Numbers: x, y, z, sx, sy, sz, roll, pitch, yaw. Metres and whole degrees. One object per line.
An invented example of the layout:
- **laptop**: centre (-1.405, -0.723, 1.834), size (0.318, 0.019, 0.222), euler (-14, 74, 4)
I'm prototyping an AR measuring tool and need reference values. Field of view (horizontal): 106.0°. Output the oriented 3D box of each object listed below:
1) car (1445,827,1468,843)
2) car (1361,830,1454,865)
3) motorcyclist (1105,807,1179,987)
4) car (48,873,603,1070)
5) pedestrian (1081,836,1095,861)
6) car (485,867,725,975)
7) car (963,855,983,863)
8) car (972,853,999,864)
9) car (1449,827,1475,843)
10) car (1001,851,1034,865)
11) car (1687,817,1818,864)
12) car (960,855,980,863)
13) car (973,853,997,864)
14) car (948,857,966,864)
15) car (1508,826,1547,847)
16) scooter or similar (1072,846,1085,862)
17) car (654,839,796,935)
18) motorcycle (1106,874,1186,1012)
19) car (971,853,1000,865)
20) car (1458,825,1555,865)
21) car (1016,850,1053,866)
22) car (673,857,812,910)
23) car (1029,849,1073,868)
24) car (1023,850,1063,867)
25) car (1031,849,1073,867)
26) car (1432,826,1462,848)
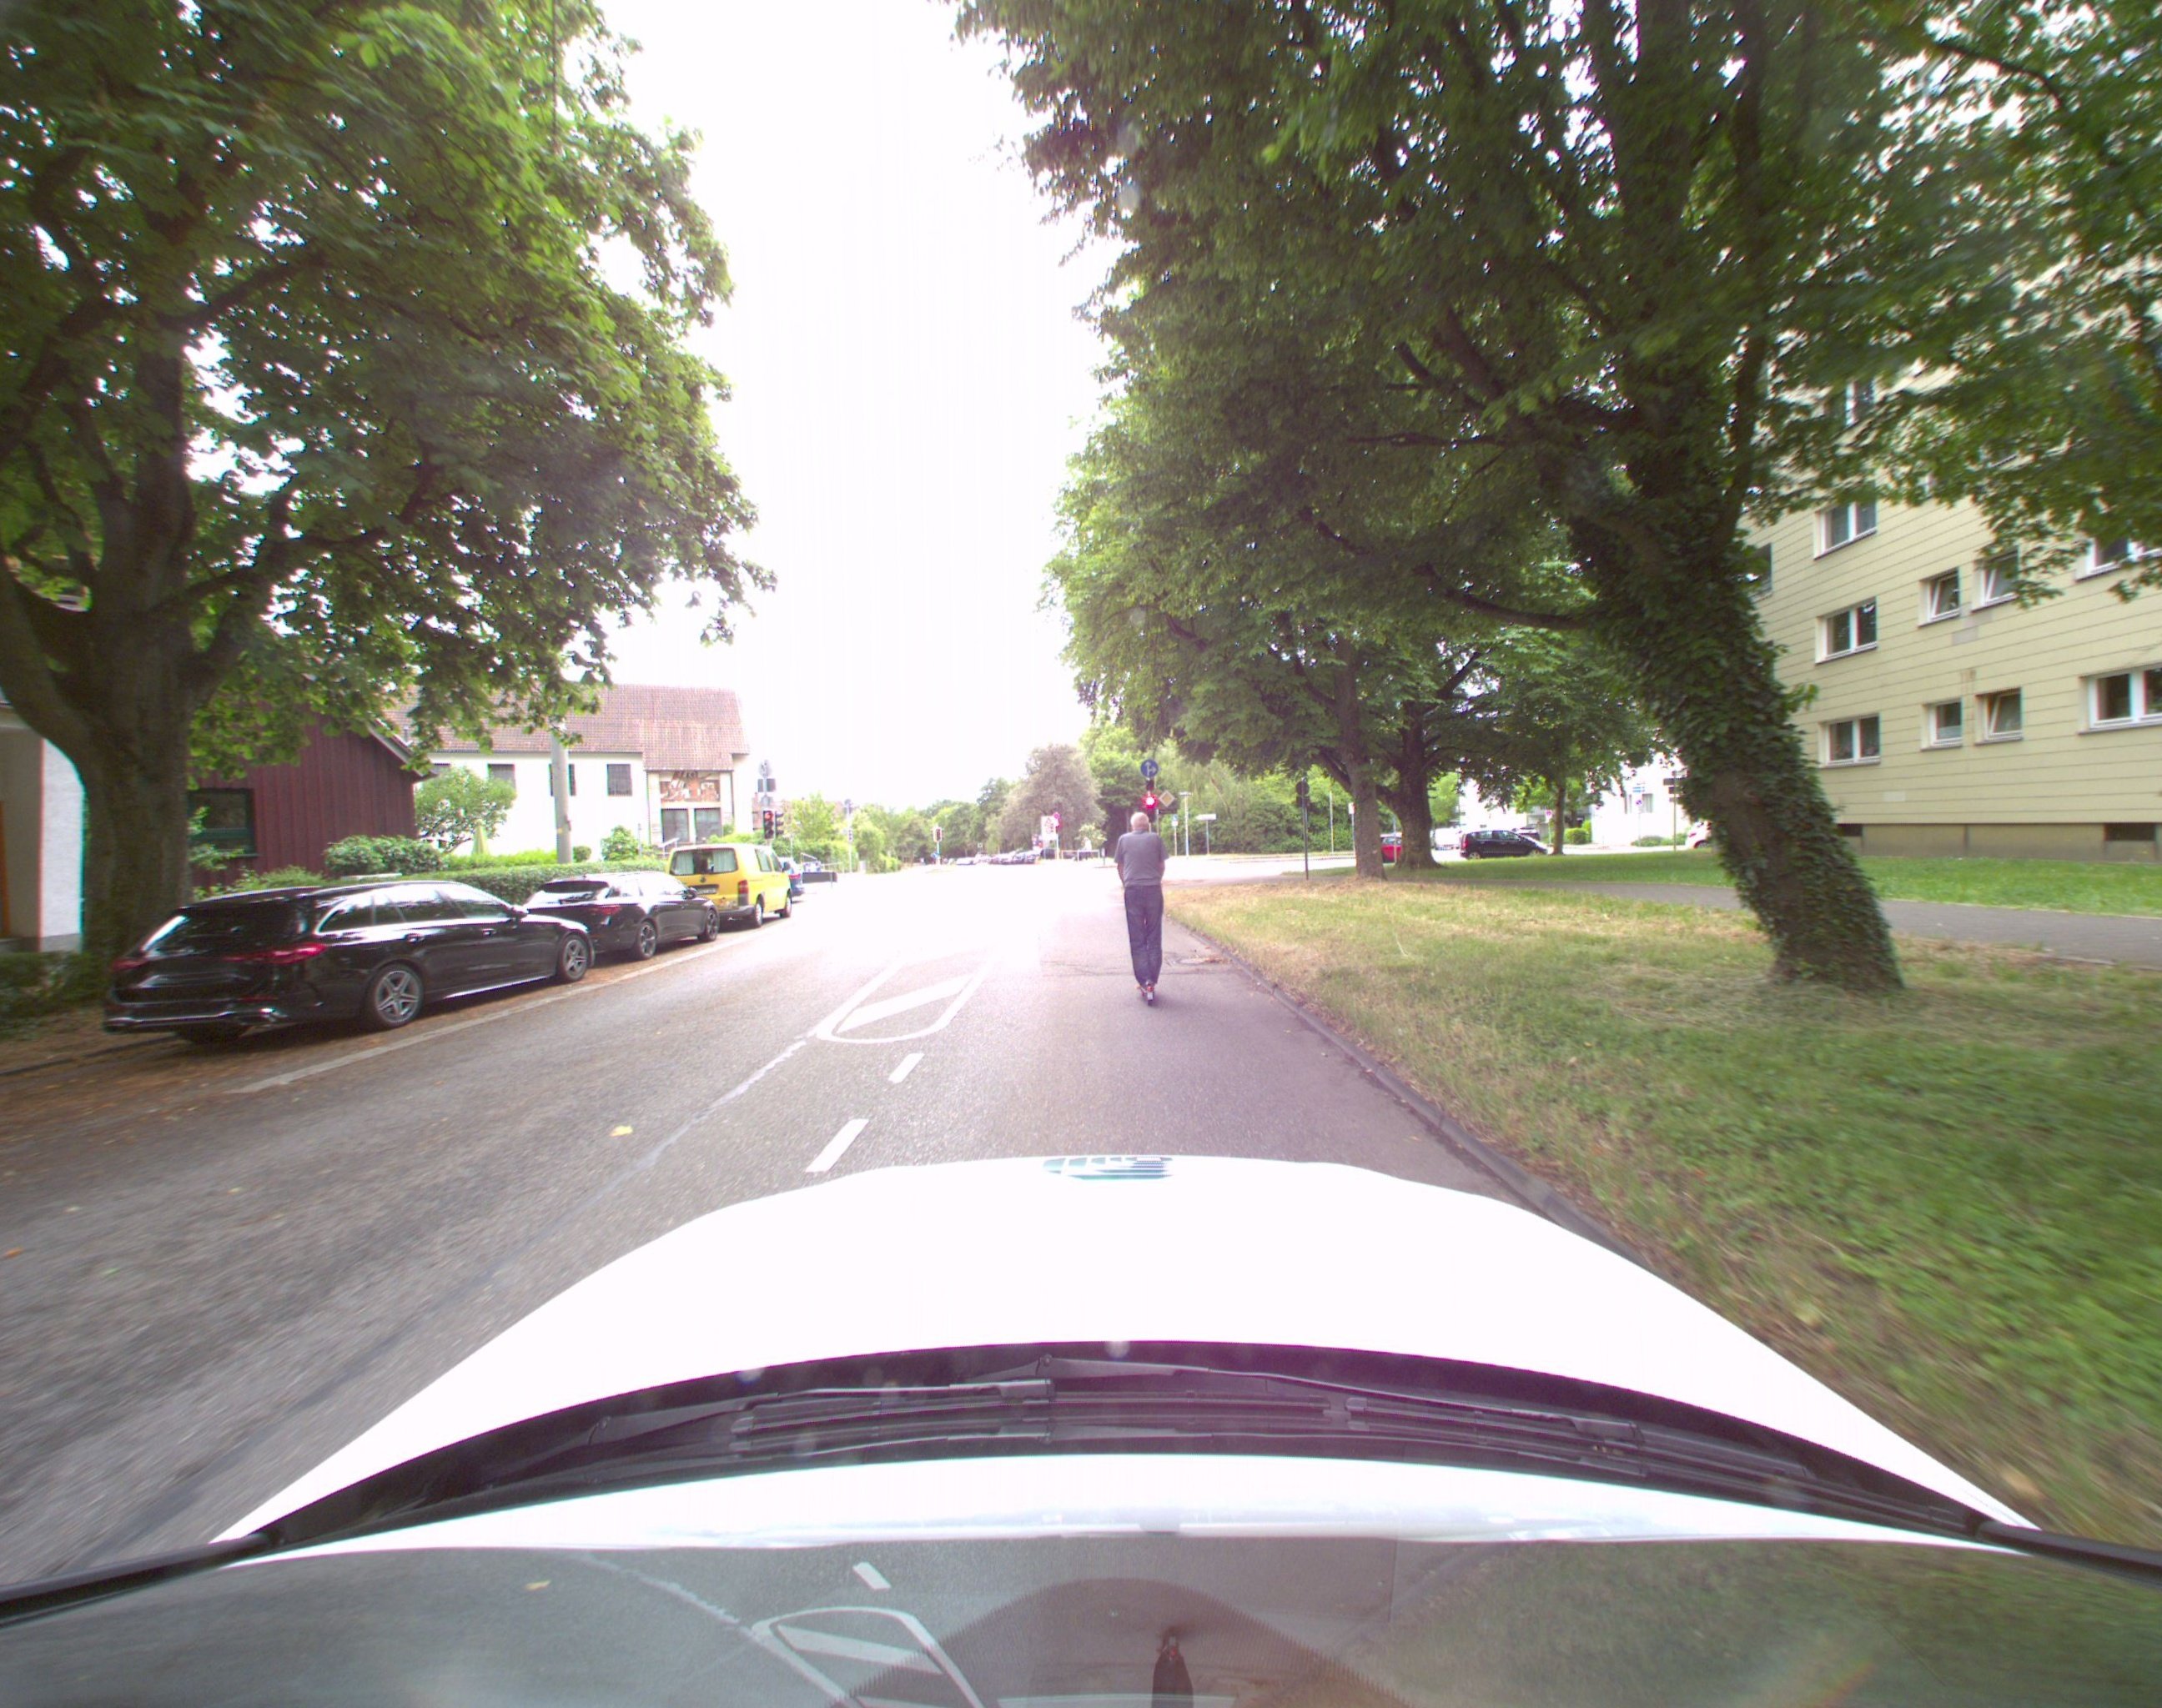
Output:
- **car**: centre (41.000, -2.071, 88.982), size (1.780, 1.613, 4.018), euler (-3, 0, 17)
- **car**: centre (15.920, -0.322, 39.898), size (3.962, 1.557, 1.806), euler (-1, 3, 10)
- **motorcyclist**: centre (0.609, 0.419, 8.363), size (0.671, 1.761, 0.638), euler (-1, 0, -1)
- **car**: centre (-7.583, 1.024, 9.021), size (1.887, 1.410, 4.551), euler (-3, 0, -1)
- **pedestrian**: centre (0.470, -0.394, 57.454), size (0.726, 1.761, 0.665), euler (-3, 0, 17)
- **car**: centre (-7.973, 1.028, 14.187), size (1.790, 1.415, 4.185), euler (-3, 0, -3)
- **car**: centre (-22.139, 1.061, 167.353), size (3.981, 1.510, 1.797), euler (-3, 0, -5)
- **car**: centre (-14.487, 0.654, 123.413), size (3.981, 1.510, 1.797), euler (-3, 0, -5)
- **car**: centre (39.351, -1.923, 84.145), size (1.780, 1.510, 4.018), euler (-3, 0, 17)
- **car**: centre (-7.843, 0.502, 100.681), size (3.981, 1.510, 1.797), euler (-3, 0, -5)
- **car**: centre (27.360, -0.549, 33.274), size (1.811, 1.741, 3.951), euler (-4, 3, -44)
- **car**: centre (-23.494, 1.086, 172.114), size (3.981, 1.510, 1.797), euler (-3, 0, -5)
- **car**: centre (-16.173, 0.723, 137.172), size (3.981, 1.510, 1.797), euler (-3, 0, -5)
- **car**: centre (-28.766, 1.479, 189.361), size (3.981, 1.510, 1.797), euler (-3, 0, -5)
- **car**: centre (34.156, -1.338, 62.388), size (2.065, 1.510, 4.021), euler (-3, 0, 21)
- **scooter or similar**: centre (-0.182, 0.001, 57.809), size (0.704, 1.049, 0.791), euler (-3, 0, 17)
- **car**: centre (-8.465, 0.715, 19.811), size (1.856, 1.964, 4.493), euler (-3, 0, -7)
- **motorcycle**: centre (0.619, 0.836, 8.140), size (0.671, 1.217, 1.273), euler (-1, 0, -1)
- **car**: centre (-13.692, 0.663, 117.082), size (3.981, 1.510, 1.797), euler (-3, 0, -5)
- **car**: centre (20.079, -0.430, 38.587), size (3.952, 1.726, 1.811), euler (0, 4, 23)
- **car**: centre (-5.169, 0.427, 90.116), size (3.981, 1.510, 1.797), euler (-3, 0, -5)
- **car**: centre (-11.568, 0.982, 28.080), size (3.984, 1.510, 1.796), euler (-3, 2, -8)
- **car**: centre (-2.849, 0.405, 76.223), size (3.981, 1.510, 1.797), euler (-3, 0, -5)
- **car**: centre (-3.948, 0.416, 83.310), size (3.981, 1.510, 1.797), euler (-3, 0, -5)
- **car**: centre (-2.841, 0.395, 79.803), size (3.981, 1.510, 1.797), euler (-3, 0, -5)
- **car**: centre (26.979, -1.260, 59.990), size (1.777, 1.510, 4.024), euler (-3, 0, 26)
